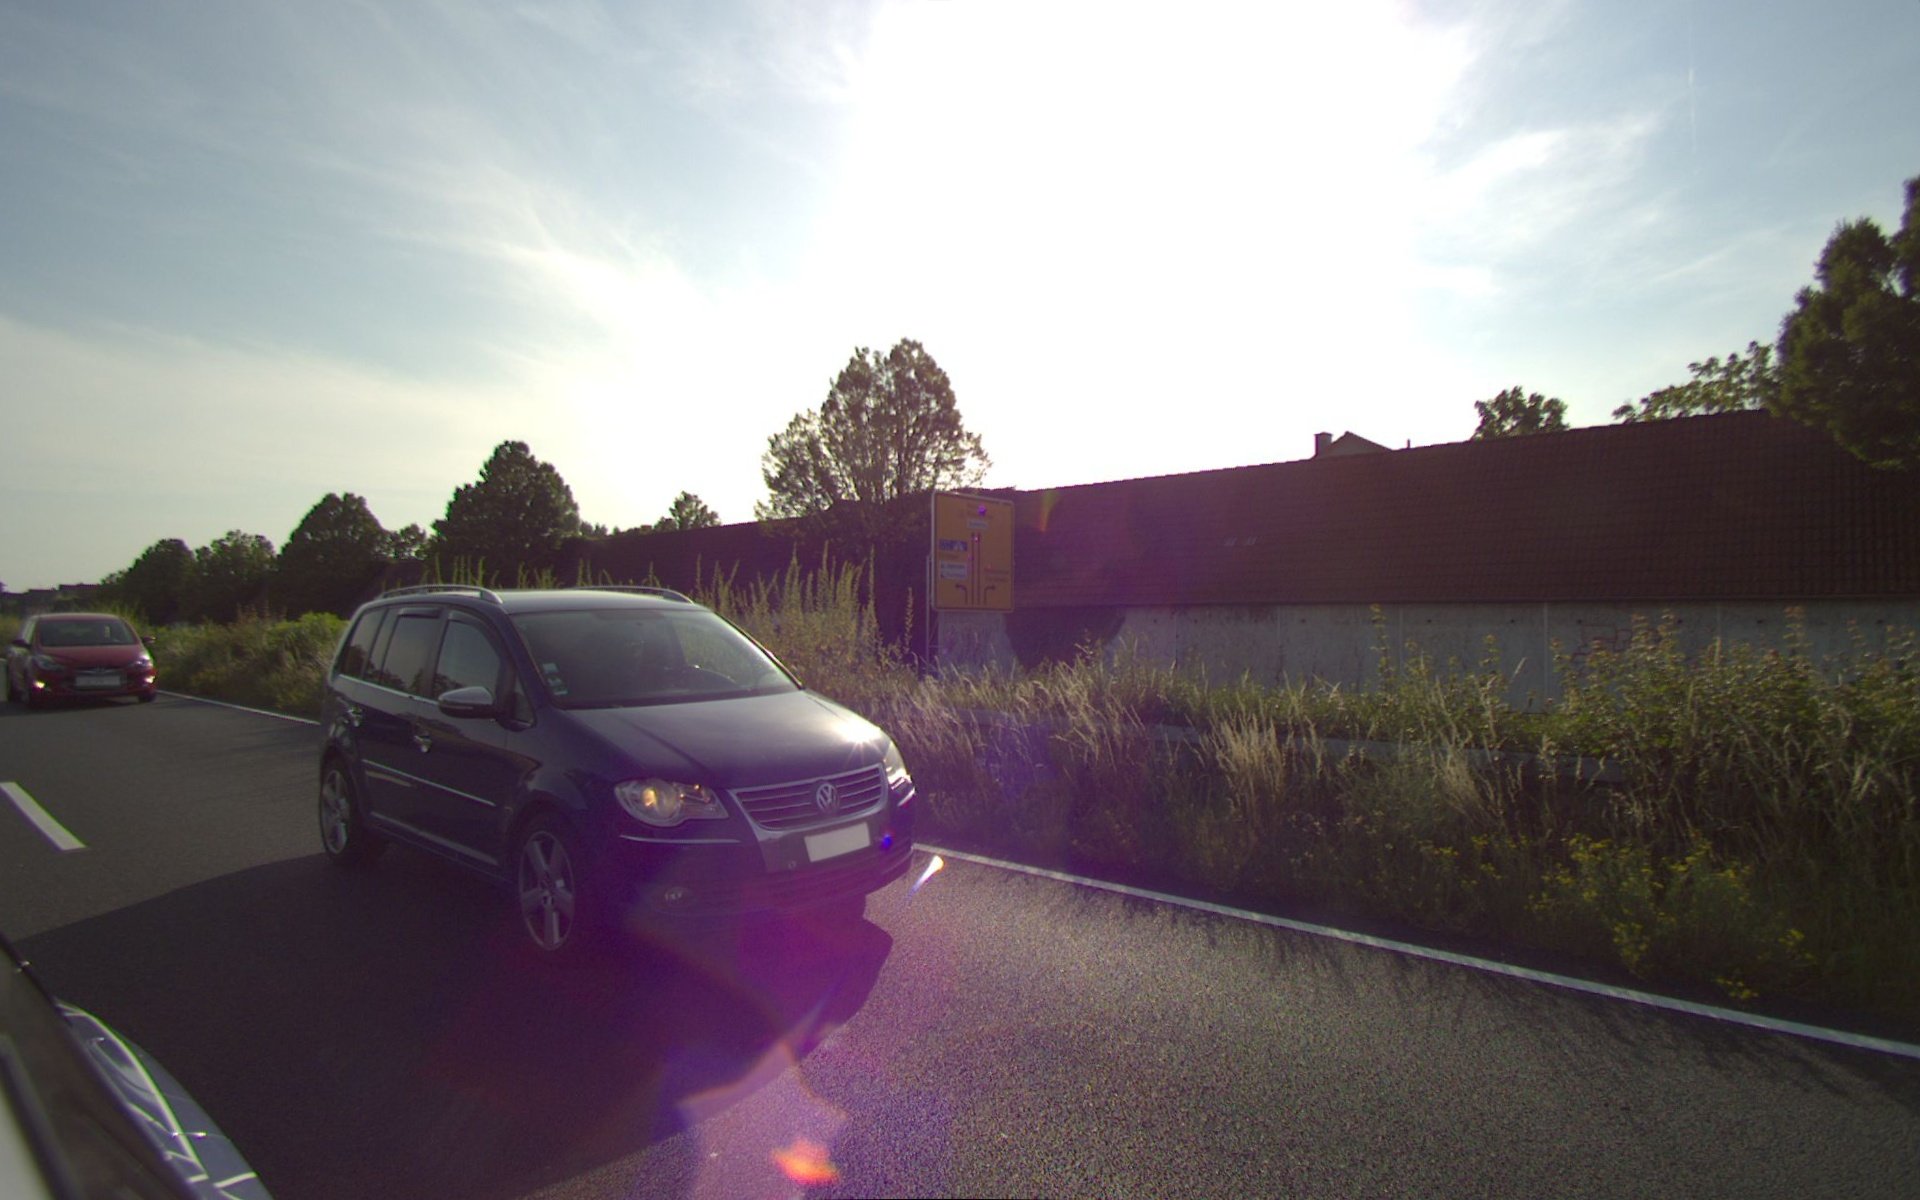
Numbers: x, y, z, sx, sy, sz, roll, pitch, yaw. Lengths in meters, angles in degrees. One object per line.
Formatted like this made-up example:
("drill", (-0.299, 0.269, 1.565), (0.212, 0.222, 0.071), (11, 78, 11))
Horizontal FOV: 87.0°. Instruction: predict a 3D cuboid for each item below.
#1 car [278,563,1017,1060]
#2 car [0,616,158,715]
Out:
("car", (-2.052, 0.720, 5.568), (4.681, 1.633, 1.754), (-1, -1, 42))
("car", (-15.986, 1.091, 18.273), (3.999, 1.557, 1.725), (-1, 0, 42))
